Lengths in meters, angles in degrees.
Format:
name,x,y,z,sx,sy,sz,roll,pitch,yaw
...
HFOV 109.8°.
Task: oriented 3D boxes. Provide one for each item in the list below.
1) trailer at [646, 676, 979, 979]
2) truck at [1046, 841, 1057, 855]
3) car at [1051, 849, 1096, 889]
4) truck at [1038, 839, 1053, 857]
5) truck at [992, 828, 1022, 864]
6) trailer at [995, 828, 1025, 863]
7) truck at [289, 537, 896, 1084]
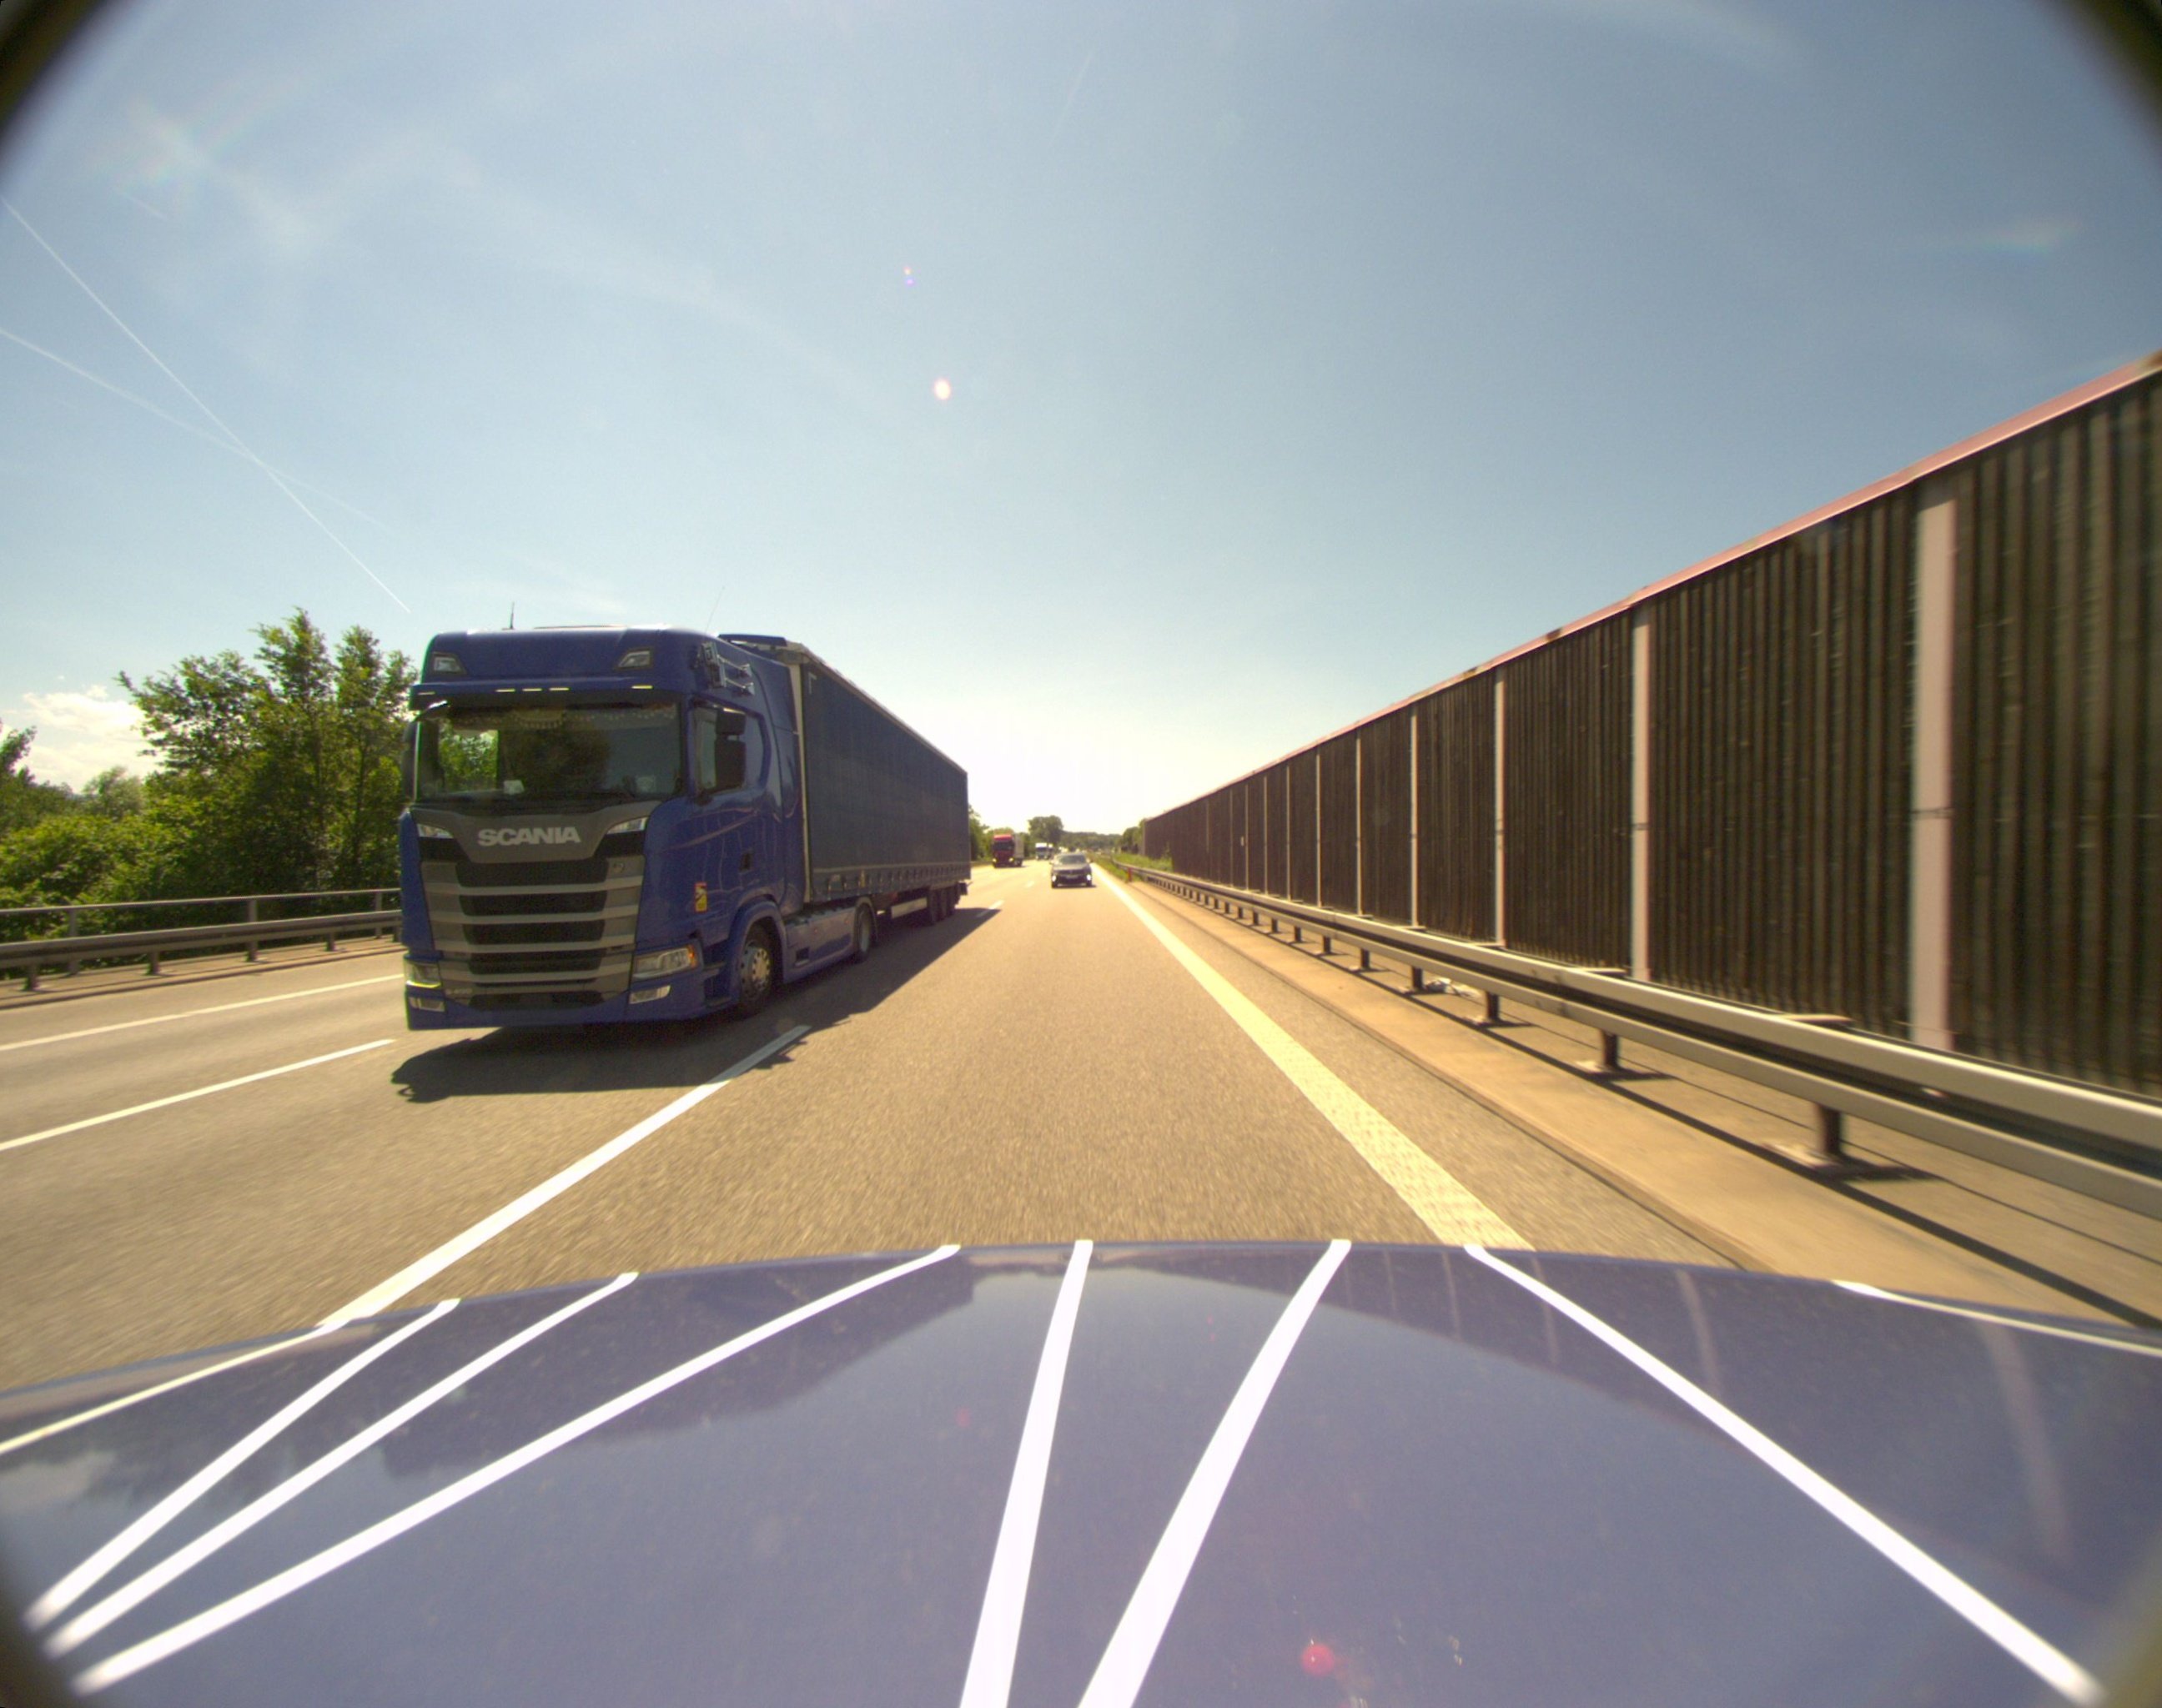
name,x,y,z,sx,sy,sz,roll,pitch,yaw
trailer,-4.531,-0.418,16.583,2.707,4.094,12.130,-2,1,1
truck,-8.092,-1.651,210.303,2.743,3.844,12.463,-2,1,-1
car,-0.396,0.624,34.907,1.885,1.630,5.007,-1,0,-1
truck,-8.413,-1.460,180.918,2.992,4.248,9.821,-2,1,-1
truck,-8.851,-0.966,91.660,2.803,4.094,7.768,-2,1,-1
trailer,-8.923,-1.057,96.867,2.803,4.094,12.297,-2,1,-1
truck,-4.578,-0.350,9.318,2.707,4.094,6.990,-2,1,0
